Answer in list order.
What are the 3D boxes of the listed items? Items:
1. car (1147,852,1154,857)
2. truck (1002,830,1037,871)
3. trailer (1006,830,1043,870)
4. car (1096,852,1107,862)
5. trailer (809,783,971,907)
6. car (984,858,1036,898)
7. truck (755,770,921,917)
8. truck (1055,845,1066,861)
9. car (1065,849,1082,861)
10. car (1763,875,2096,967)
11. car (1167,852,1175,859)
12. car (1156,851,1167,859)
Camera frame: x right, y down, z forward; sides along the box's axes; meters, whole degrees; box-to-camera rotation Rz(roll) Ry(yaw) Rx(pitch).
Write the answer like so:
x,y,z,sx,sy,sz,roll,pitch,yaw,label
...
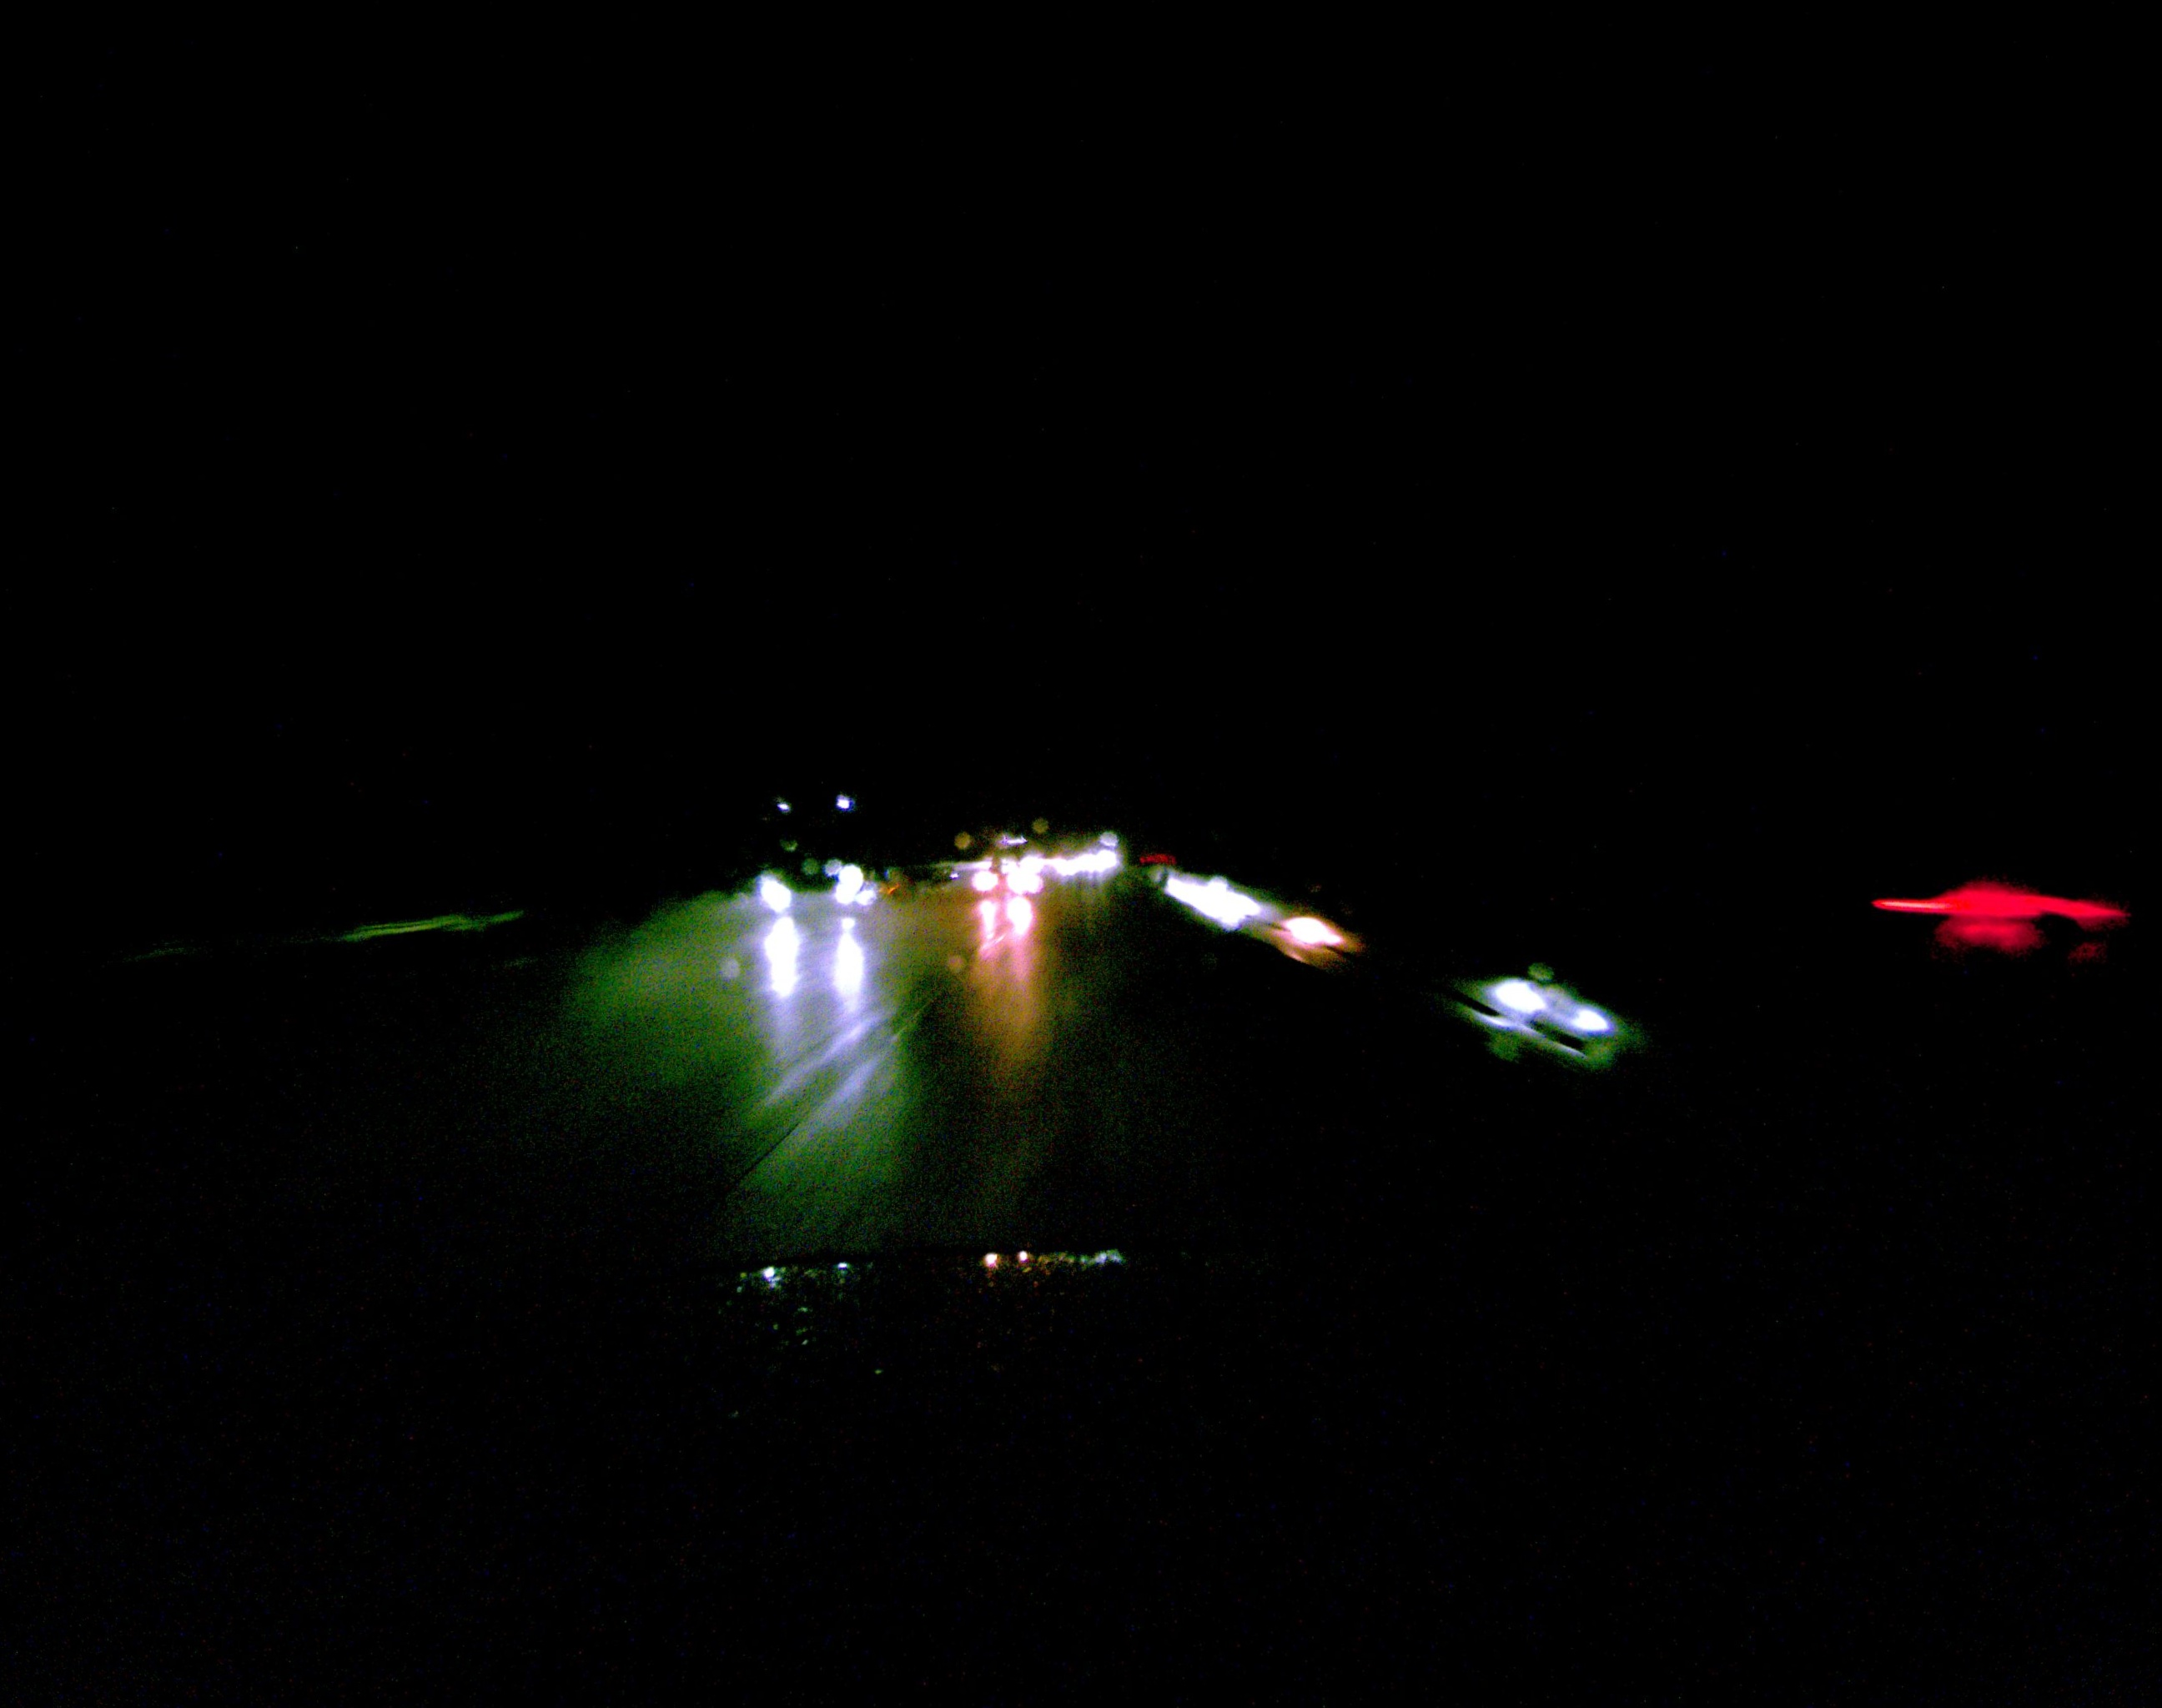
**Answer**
x,y,z,sx,sy,sz,roll,pitch,yaw,label
18.700,0.178,205.083,1.738,1.499,3.795,1,0,2,car
-6.468,-0.383,80.783,2.778,4.168,6.017,-2,0,2,truck
-6.250,-0.474,86.316,2.753,4.168,11.180,-2,0,2,trailer
3.217,0.386,117.607,1.619,1.452,3.767,-2,1,2,car
-7.451,-0.371,32.567,2.871,4.074,13.641,-2,1,2,trailer
-2.919,0.960,31.849,1.619,1.494,3.767,-2,1,2,car
-7.703,-0.314,25.282,2.866,4.079,7.014,-2,0,2,truck
-4.264,-0.213,160.626,1.884,3.147,6.715,-2,1,2,truck
-0.940,0.080,100.423,1.944,1.521,4.000,-2,1,2,car
16.674,1.222,15.352,1.787,1.414,4.352,1,0,-1,car
22.308,0.364,188.124,1.694,1.499,4.272,1,0,2,car
17.051,0.201,161.131,1.789,1.517,4.380,-2,1,0,car
